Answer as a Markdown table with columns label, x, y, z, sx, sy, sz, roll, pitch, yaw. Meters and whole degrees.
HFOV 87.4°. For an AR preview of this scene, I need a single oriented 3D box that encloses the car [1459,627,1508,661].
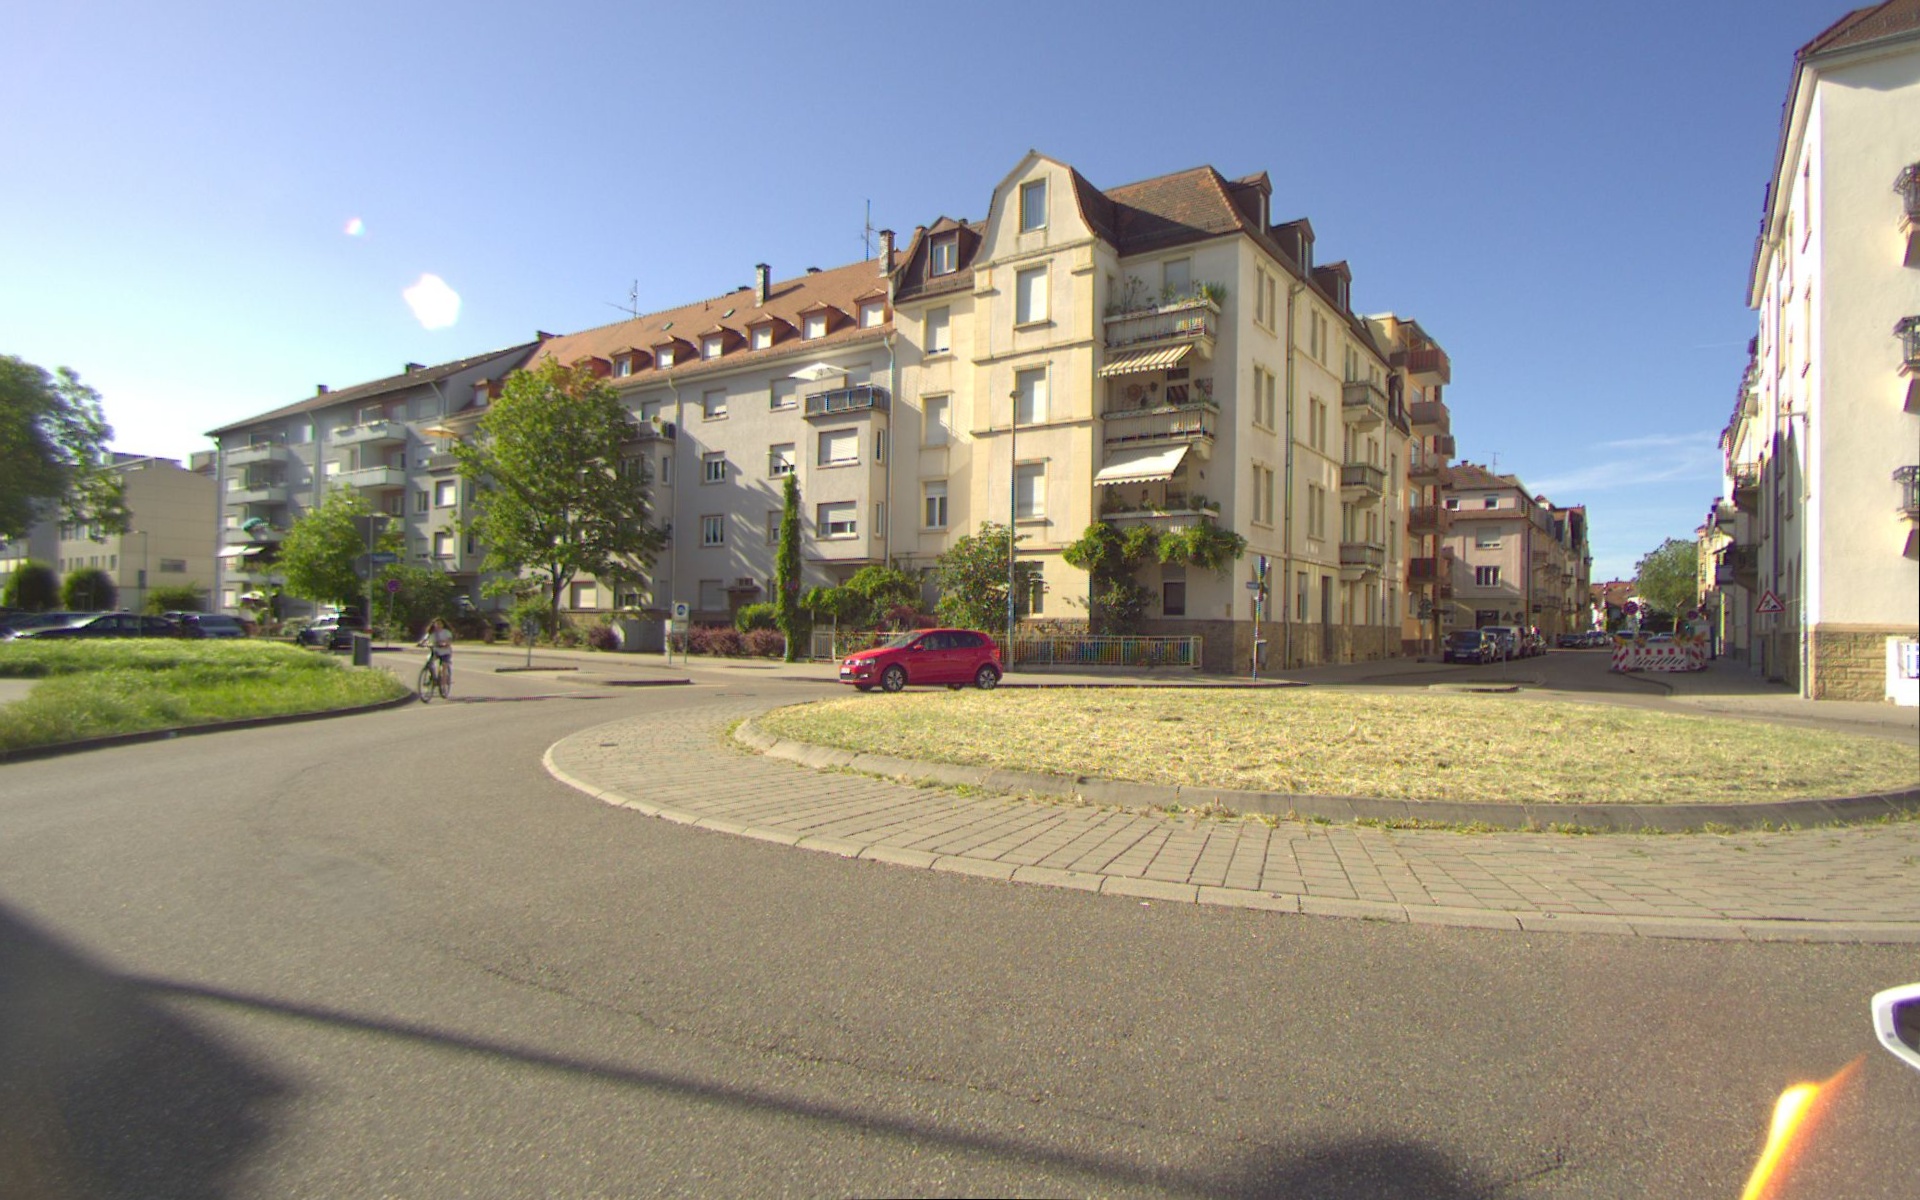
| label | x | y | z | sx | sy | sz | roll | pitch | yaw |
| --- | --- | --- | --- | --- | --- | --- | --- | --- | --- |
| car | 27.727 | 2.310 | 53.152 | 1.739 | 1.642 | 4.281 | 1 | -1 | 35 |

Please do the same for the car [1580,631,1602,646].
| label | x | y | z | sx | sy | sz | roll | pitch | yaw |
| --- | --- | --- | --- | --- | --- | --- | --- | --- | --- |
| car | 74.983 | 4.568 | 119.321 | 1.977 | 1.640 | 4.474 | 3 | -1 | 35 |

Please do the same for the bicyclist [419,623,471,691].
| label | x | y | z | sx | sy | sz | roll | pitch | yaw |
| --- | --- | --- | --- | --- | --- | --- | --- | --- | --- |
| bicyclist | -10.466 | 1.148 | 20.444 | 0.799 | 1.329 | 0.821 | 2 | -1 | -20 |

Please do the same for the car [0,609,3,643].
| label | x | y | z | sx | sy | sz | roll | pitch | yaw |
| --- | --- | --- | --- | --- | --- | --- | --- | --- | --- |
| car | -44.079 | 1.101 | 43.211 | 1.797 | 1.483 | 3.985 | 0 | -2 | 37 |

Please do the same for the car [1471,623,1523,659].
| label | x | y | z | sx | sy | sz | roll | pitch | yaw |
| --- | --- | --- | --- | --- | --- | --- | --- | --- | --- |
| car | 30.848 | 2.324 | 57.631 | 1.949 | 1.950 | 5.292 | 1 | -1 | 35 |

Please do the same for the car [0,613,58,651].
| label | x | y | z | sx | sy | sz | roll | pitch | yaw |
| --- | --- | --- | --- | --- | --- | --- | --- | --- | --- |
| car | -38.397 | 1.229 | 39.624 | 1.971 | 1.483 | 3.979 | 0 | -2 | 42 |

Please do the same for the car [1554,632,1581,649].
| label | x | y | z | sx | sy | sz | roll | pitch | yaw |
| --- | --- | --- | --- | --- | --- | --- | --- | --- | --- |
| car | 56.713 | 3.790 | 93.766 | 1.658 | 1.445 | 4.258 | 3 | -1 | 37 |

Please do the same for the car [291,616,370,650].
| label | x | y | z | sx | sy | sz | roll | pitch | yaw |
| --- | --- | --- | --- | --- | --- | --- | --- | --- | --- |
| car | -29.989 | 1.542 | 47.805 | 3.935 | 1.559 | 1.845 | 0 | -2 | 36 |

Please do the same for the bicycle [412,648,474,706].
| label | x | y | z | sx | sy | sz | roll | pitch | yaw |
| --- | --- | --- | --- | --- | --- | --- | --- | --- | --- |
| bicycle | -10.489 | 1.547 | 20.448 | 0.799 | 1.028 | 2.200 | 2 | -1 | -20 |

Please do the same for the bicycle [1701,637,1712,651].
| label | x | y | z | sx | sy | sz | roll | pitch | yaw |
| --- | --- | --- | --- | --- | --- | --- | --- | --- | --- |
| bicycle | 70.479 | 4.126 | 94.806 | 0.751 | 1.263 | 2.583 | 1 | -1 | 35 |

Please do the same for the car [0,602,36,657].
| label | x | y | z | sx | sy | sz | roll | pitch | yaw |
| --- | --- | --- | --- | --- | --- | --- | --- | --- | --- |
| car | -33.126 | 0.944 | 32.927 | 1.971 | 1.795 | 3.979 | 0 | -2 | 42 |

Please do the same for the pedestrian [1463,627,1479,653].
| label | x | y | z | sx | sy | sz | roll | pitch | yaw |
| --- | --- | --- | --- | --- | --- | --- | --- | --- | --- |
| pedestrian | 37.699 | 2.923 | 74.050 | 0.911 | 1.841 | 0.992 | 1 | -1 | 32 |

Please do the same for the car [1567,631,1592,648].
| label | x | y | z | sx | sy | sz | roll | pitch | yaw |
| --- | --- | --- | --- | --- | --- | --- | --- | --- | --- |
| car | 66.832 | 4.269 | 108.306 | 1.977 | 1.640 | 4.474 | 3 | -1 | 35 |

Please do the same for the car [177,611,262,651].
| label | x | y | z | sx | sy | sz | roll | pitch | yaw |
| --- | --- | --- | --- | --- | --- | --- | --- | --- | --- |
| car | -34.875 | 1.420 | 47.272 | 4.201 | 1.718 | 1.875 | 0 | 0 | 34 |

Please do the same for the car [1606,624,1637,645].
| label | x | y | z | sx | sy | sz | roll | pitch | yaw |
| --- | --- | --- | --- | --- | --- | --- | --- | --- | --- |
| car | 51.282 | 2.688 | 77.803 | 1.815 | 1.450 | 4.015 | -1 | -4 | 36 |

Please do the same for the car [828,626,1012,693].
| label | x | y | z | sx | sy | sz | roll | pitch | yaw |
| --- | --- | --- | --- | --- | --- | --- | --- | --- | --- |
| car | -0.914 | 1.327 | 23.297 | 3.950 | 1.400 | 1.705 | 0 | -2 | -28 |

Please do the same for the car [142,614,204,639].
| label | x | y | z | sx | sy | sz | roll | pitch | yaw |
| --- | --- | --- | --- | --- | --- | --- | --- | --- | --- |
| car | -45.933 | 1.539 | 58.601 | 3.935 | 1.398 | 1.845 | 0 | -2 | 36 |

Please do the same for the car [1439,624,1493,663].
| label | x | y | z | sx | sy | sz | roll | pitch | yaw |
| --- | --- | --- | --- | --- | --- | --- | --- | --- | --- |
| car | 24.636 | 2.092 | 48.844 | 1.739 | 1.794 | 4.280 | 1 | -1 | 35 |

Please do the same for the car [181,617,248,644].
| label | x | y | z | sx | sy | sz | roll | pitch | yaw |
| --- | --- | --- | --- | --- | --- | --- | --- | --- | --- |
| car | -40.798 | 1.648 | 54.926 | 3.935 | 1.398 | 1.845 | 0 | -2 | 36 |
